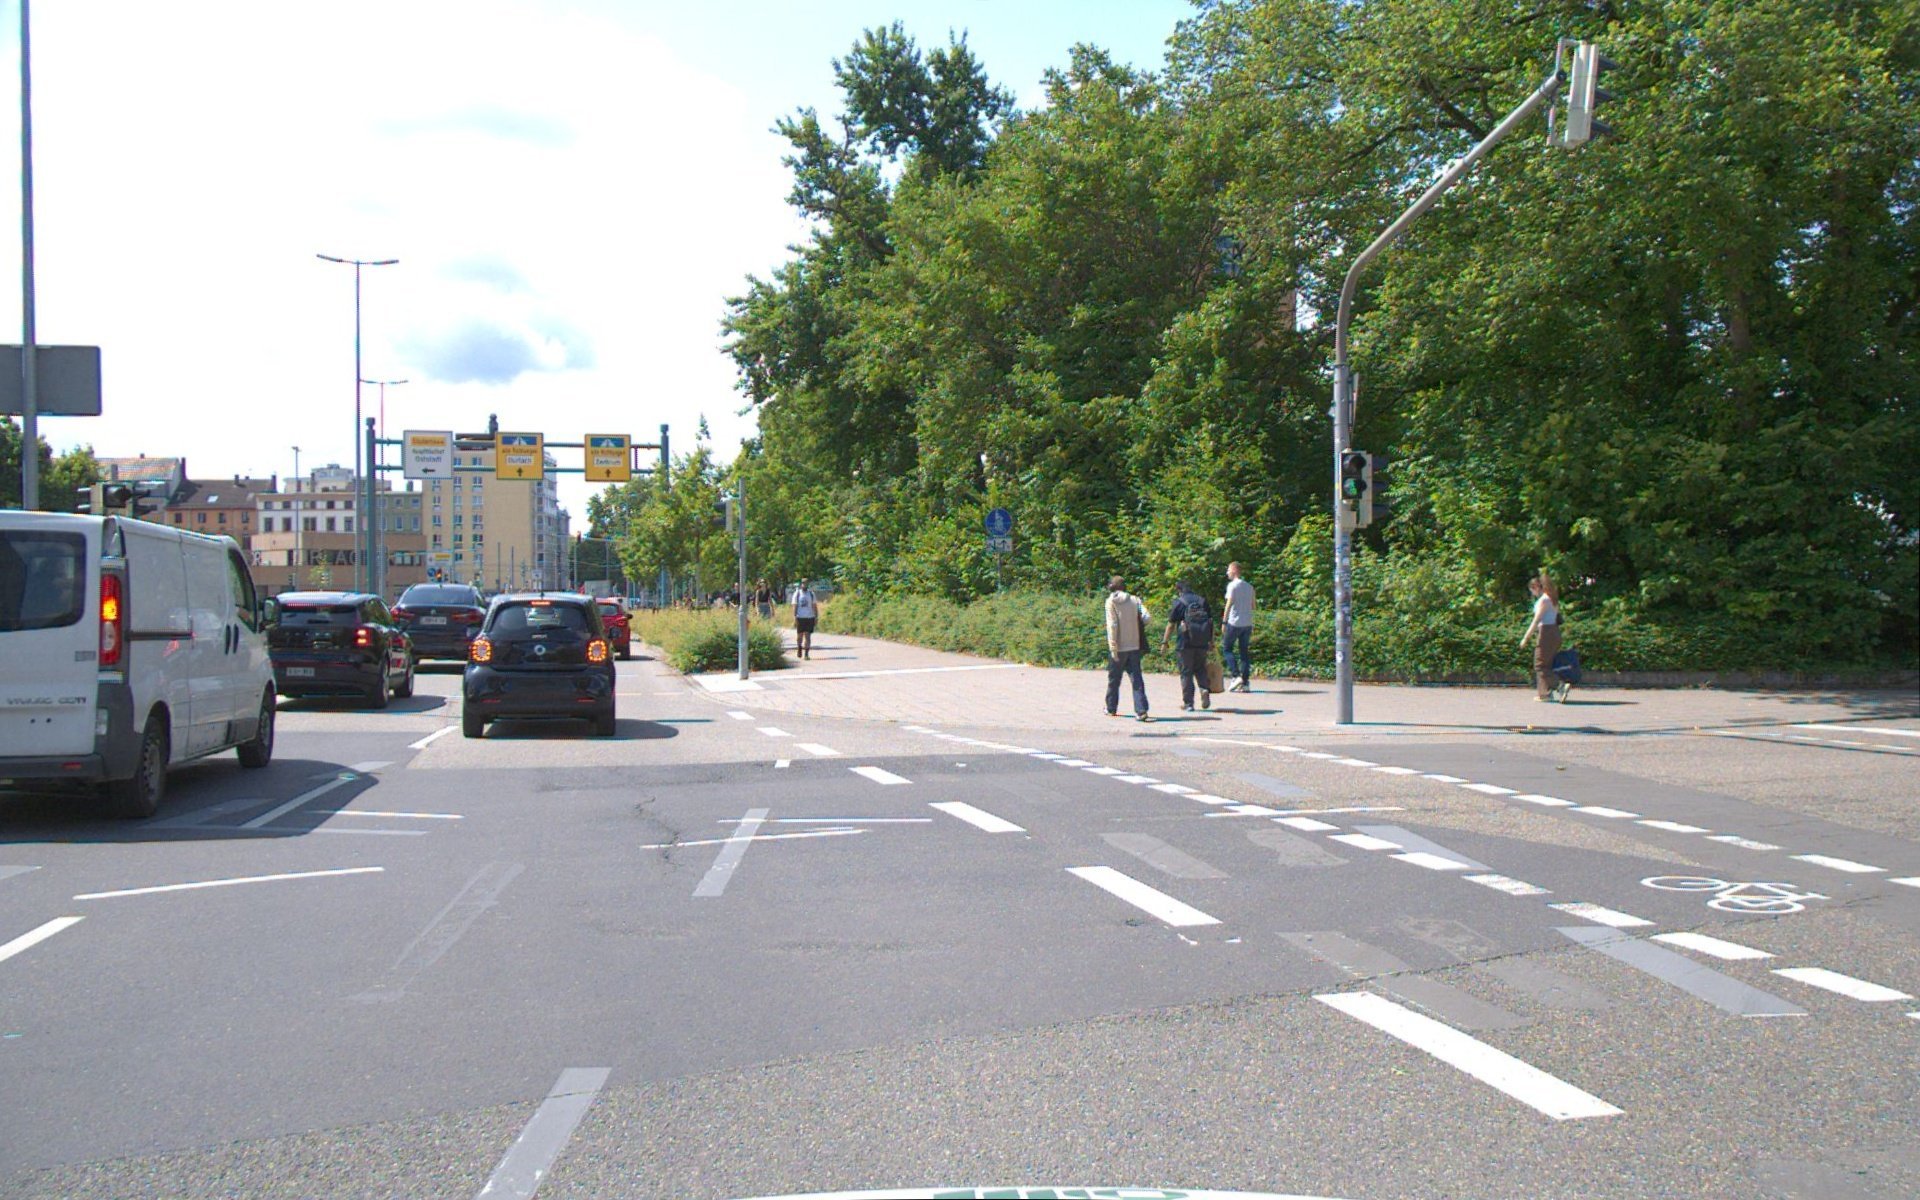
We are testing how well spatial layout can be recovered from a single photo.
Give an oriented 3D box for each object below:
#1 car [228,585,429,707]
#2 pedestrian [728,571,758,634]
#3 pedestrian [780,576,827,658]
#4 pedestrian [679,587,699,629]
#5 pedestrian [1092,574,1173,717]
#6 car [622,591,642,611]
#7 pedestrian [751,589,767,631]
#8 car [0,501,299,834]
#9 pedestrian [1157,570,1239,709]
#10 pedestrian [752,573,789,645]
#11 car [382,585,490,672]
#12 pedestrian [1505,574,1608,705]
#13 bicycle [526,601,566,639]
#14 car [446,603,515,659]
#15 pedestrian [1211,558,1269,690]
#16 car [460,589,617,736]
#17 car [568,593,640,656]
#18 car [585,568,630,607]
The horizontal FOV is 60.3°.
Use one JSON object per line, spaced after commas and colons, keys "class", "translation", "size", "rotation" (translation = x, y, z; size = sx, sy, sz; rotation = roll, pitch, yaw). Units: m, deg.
{"class": "car", "translation": [-8.880, 0.612, 23.672], "size": [1.982, 1.557, 4.870], "rotation": [1, -1, -13]}
{"class": "pedestrian", "translation": [-7.050, 0.083, 53.662], "size": [0.825, 2.003, 0.857], "rotation": [-1, 0, -16]}
{"class": "pedestrian", "translation": [-3.398, 0.359, 35.843], "size": [0.837, 1.730, 0.928], "rotation": [-2, 0, -14]}
{"class": "pedestrian", "translation": [-13.087, 0.397, 79.804], "size": [0.825, 2.003, 0.857], "rotation": [-1, 0, -16]}
{"class": "pedestrian", "translation": [2.139, 0.544, 20.640], "size": [0.780, 1.734, 1.181], "rotation": [0, 1, -6]}
{"class": "car", "translation": [-34.211, 0.122, 172.494], "size": [1.909, 1.998, 3.940], "rotation": [1, -1, -11]}
{"class": "pedestrian", "translation": [-9.200, 0.460, 75.677], "size": [0.496, 1.924, 0.555], "rotation": [1, -1, -30]}
{"class": "car", "translation": [-6.482, 0.396, 12.365], "size": [1.971, 1.989, 5.178], "rotation": [0, 0, -12]}
{"class": "pedestrian", "translation": [3.042, 0.484, 21.236], "size": [0.780, 1.734, 1.181], "rotation": [0, 1, -6]}
{"class": "pedestrian", "translation": [-5.094, 0.247, 44.436], "size": [0.825, 1.901, 1.015], "rotation": [-1, 0, -16]}
{"class": "car", "translation": [-10.537, 0.547, 33.484], "size": [1.796, 1.629, 4.377], "rotation": [1, 0, -14]}
{"class": "pedestrian", "translation": [7.875, 0.494, 21.855], "size": [0.850, 1.654, 1.005], "rotation": [-3, 2, -42]}
{"class": "bicycle", "translation": [-23.120, 1.101, 92.292], "size": [1.961, 2.049, 3.982], "rotation": [1, -1, -16]}
{"class": "car", "translation": [-12.437, 0.771, 43.000], "size": [1.584, 1.348, 3.504], "rotation": [0, 0, -14]}
{"class": "pedestrian", "translation": [4.002, 0.331, 23.680], "size": [0.658, 1.852, 0.702], "rotation": [0, 1, -6]}
{"class": "car", "translation": [-4.833, 0.643, 19.047], "size": [1.584, 1.511, 3.504], "rotation": [0, 0, -14]}
{"class": "car", "translation": [-8.708, 0.564, 40.295], "size": [1.584, 1.436, 3.504], "rotation": [1, 0, -14]}
{"class": "car", "translation": [-13.724, -0.463, 64.288], "size": [1.584, 1.436, 3.504], "rotation": [1, 0, -14]}
